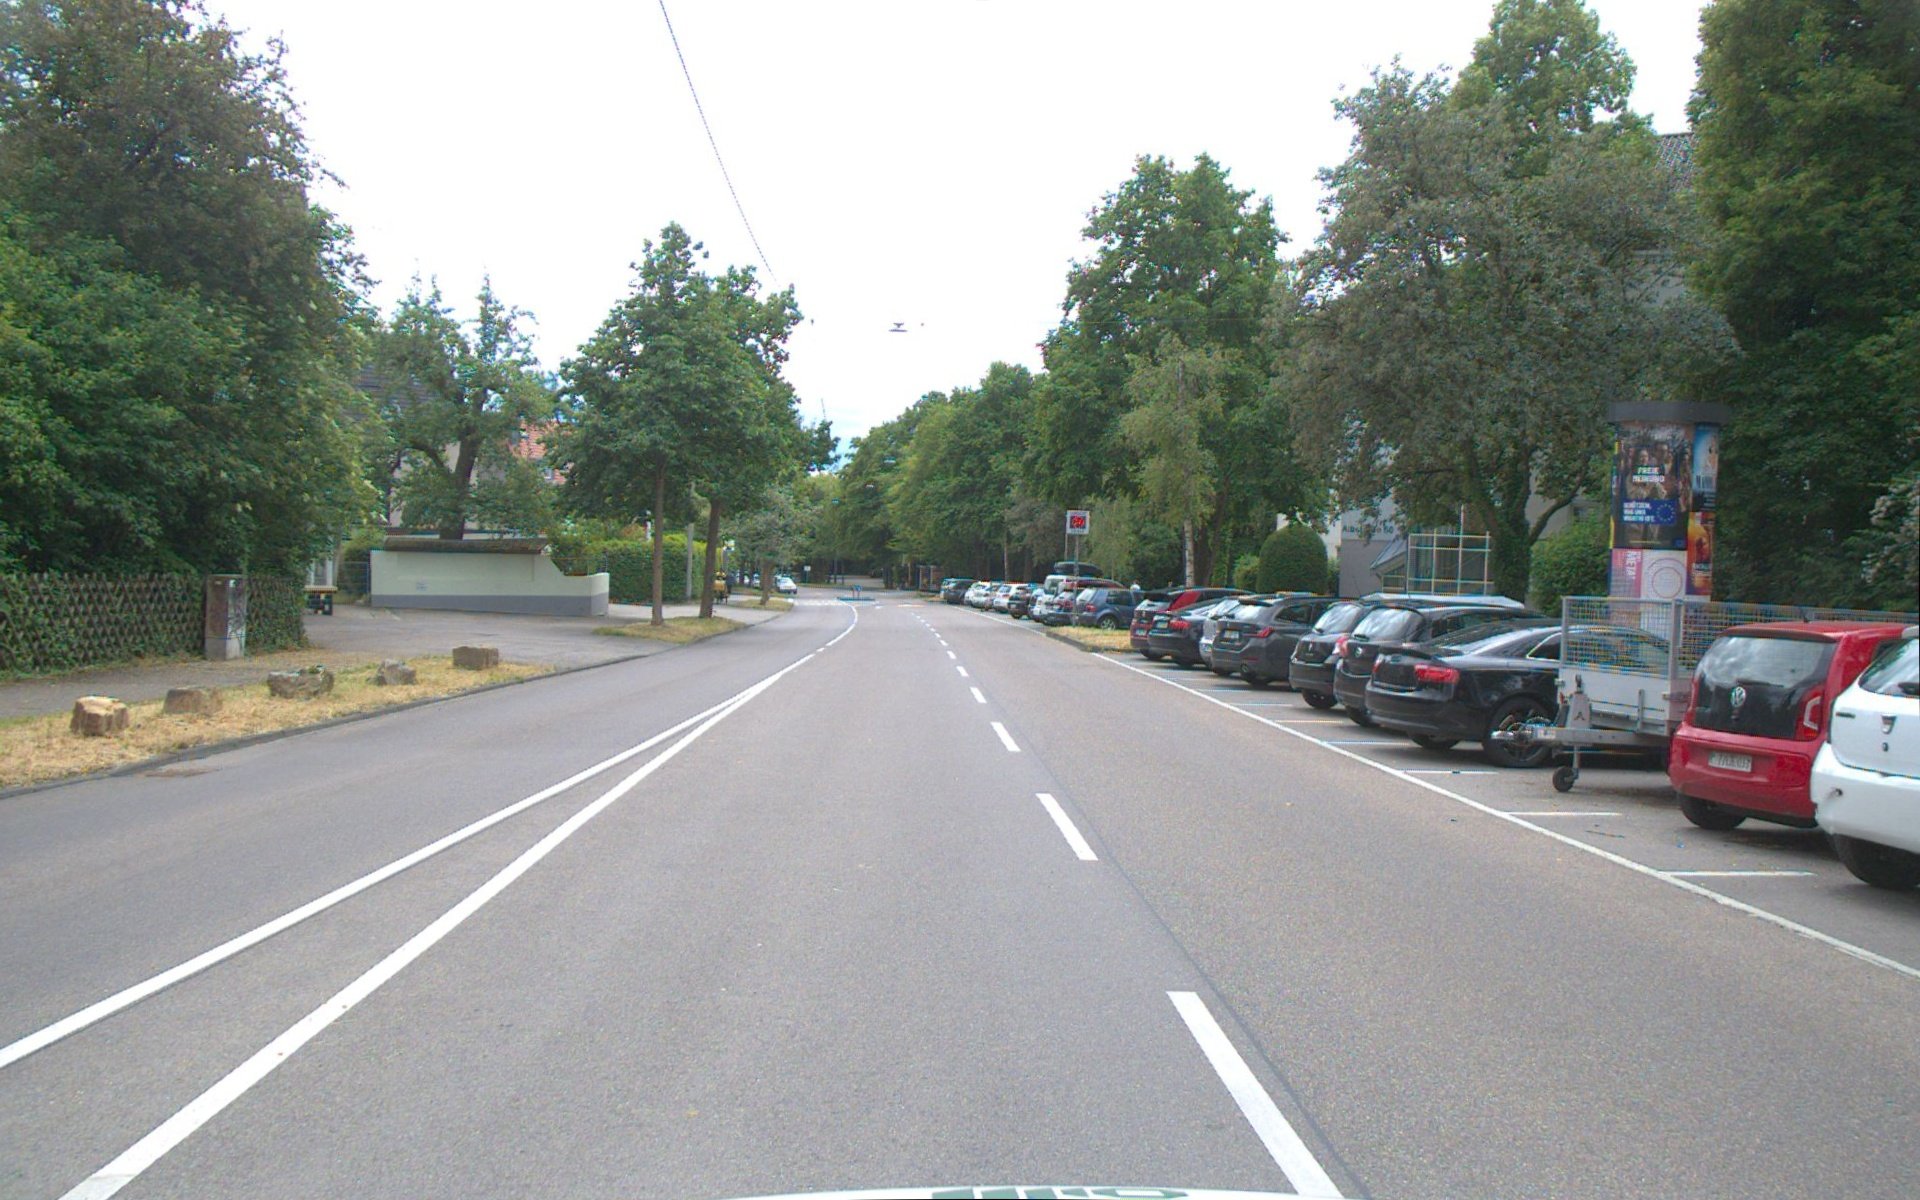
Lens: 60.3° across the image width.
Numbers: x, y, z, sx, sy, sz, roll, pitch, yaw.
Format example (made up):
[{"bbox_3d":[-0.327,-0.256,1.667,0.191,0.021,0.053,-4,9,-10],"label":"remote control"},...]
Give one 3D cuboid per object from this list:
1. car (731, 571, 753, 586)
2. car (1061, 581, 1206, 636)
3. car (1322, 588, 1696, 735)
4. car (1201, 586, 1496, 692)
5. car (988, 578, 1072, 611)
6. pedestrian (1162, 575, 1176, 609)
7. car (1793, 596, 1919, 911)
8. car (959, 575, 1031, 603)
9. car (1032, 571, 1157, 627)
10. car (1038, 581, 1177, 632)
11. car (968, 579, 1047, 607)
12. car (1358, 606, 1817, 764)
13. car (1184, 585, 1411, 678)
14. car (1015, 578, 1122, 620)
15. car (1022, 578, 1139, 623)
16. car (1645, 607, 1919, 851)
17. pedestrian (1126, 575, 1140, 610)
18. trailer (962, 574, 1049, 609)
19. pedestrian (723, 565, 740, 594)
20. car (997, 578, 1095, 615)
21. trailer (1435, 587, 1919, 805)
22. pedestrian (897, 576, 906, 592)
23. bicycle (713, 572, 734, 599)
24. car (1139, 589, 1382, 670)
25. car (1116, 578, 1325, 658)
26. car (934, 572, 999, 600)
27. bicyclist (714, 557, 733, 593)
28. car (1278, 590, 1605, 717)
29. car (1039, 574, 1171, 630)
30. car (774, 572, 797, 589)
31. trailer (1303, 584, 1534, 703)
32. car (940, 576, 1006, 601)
[{"bbox_3d":[-23.094,-2.244,175.086,1.836,1.496,3.985,1,1,-15],"label":"car"},{"bbox_3d":[5.195,0.249,49.627,3.901,1.430,1.749,3,1,-17],"label":"car"},{"bbox_3d":[6.300,0.704,19.055,3.849,1.512,1.611,2,1,-17],"label":"car"},{"bbox_3d":[6.124,0.606,26.165,4.274,1.470,1.627,2,1,-16],"label":"car"},{"bbox_3d":[3.491,-0.271,82.664,3.832,1.474,1.731,2,1,-24],"label":"car"},{"bbox_3d":[10.407,-0.399,82.335,0.636,1.631,0.744,1,0,3],"label":"pedestrian"},{"bbox_3d":[6.636,0.831,8.681,3.747,1.556,1.604,2,0,-6],"label":"car"},{"bbox_3d":[2.026,-0.622,95.835,3.830,1.454,1.732,2,1,-22],"label":"car"},{"bbox_3d":[4.732,-0.031,58.019,4.040,1.785,1.770,2,1,-29],"label":"car"},{"bbox_3d":[4.641,0.205,52.134,3.968,1.430,1.747,2,1,-20],"label":"car"},{"bbox_3d":[2.502,-0.349,87.490,3.837,1.332,1.729,2,1,-27],"label":"car"},{"bbox_3d":[6.090,0.812,16.183,3.964,1.350,1.555,2,0,-11],"label":"car"},{"bbox_3d":[5.940,0.545,29.156,3.553,1.470,1.626,2,1,-18],"label":"car"},{"bbox_3d":[4.362,-0.044,66.487,3.830,1.474,1.832,2,0,-22],"label":"car"},{"bbox_3d":[4.472,0.020,61.751,3.904,1.474,1.909,2,0,-17],"label":"car"},{"bbox_3d":[6.672,0.852,11.346,3.366,1.470,1.554,2,0,-14],"label":"car"},{"bbox_3d":[8.405,-0.378,80.250,0.636,1.700,0.744,1,0,4],"label":"pedestrian"},{"bbox_3d":[2.342,-0.432,84.794,4.095,1.600,1.701,2,0,-21],"label":"trailer"},{"bbox_3d":[-14.203,-1.297,102.767,0.956,1.760,0.848,1,1,-6],"label":"pedestrian"},{"bbox_3d":[3.714,-0.155,71.452,3.836,1.474,1.829,2,1,-26],"label":"car"},{"bbox_3d":[5.983,0.767,13.600,3.625,1.561,1.641,2,1,-13],"label":"trailer"},{"bbox_3d":[-5.775,-1.580,163.572,0.725,1.597,0.652,1,0,9],"label":"pedestrian"},{"bbox_3d":[-11.714,-0.732,81.996,0.828,1.288,2.650,2,2,-5],"label":"bicycle"},{"bbox_3d":[5.747,0.553,31.720,4.242,1.364,1.726,2,0,-16],"label":"car"},{"bbox_3d":[5.442,0.382,34.557,4.018,1.542,1.721,1,1,-24],"label":"car"},{"bbox_3d":[0.429,-0.939,108.562,3.830,1.697,1.732,2,1,-22],"label":"car"},{"bbox_3d":[-11.683,-1.232,81.823,0.828,1.727,0.713,2,1,-5],"label":"bicyclist"},{"bbox_3d":[6.260,0.688,21.626,3.775,1.480,1.628,2,1,-14],"label":"car"},{"bbox_3d":[4.809,0.058,55.076,3.935,1.648,1.875,2,1,-18],"label":"car"},{"bbox_3d":[-15.548,-1.739,147.136,1.832,1.496,3.992,1,1,-9],"label":"car"},{"bbox_3d":[6.640,0.622,23.999,2.936,1.569,1.298,2,1,-15],"label":"trailer"},{"bbox_3d":[0.815,-0.741,105.789,3.830,1.454,1.732,2,1,-22],"label":"car"}]
